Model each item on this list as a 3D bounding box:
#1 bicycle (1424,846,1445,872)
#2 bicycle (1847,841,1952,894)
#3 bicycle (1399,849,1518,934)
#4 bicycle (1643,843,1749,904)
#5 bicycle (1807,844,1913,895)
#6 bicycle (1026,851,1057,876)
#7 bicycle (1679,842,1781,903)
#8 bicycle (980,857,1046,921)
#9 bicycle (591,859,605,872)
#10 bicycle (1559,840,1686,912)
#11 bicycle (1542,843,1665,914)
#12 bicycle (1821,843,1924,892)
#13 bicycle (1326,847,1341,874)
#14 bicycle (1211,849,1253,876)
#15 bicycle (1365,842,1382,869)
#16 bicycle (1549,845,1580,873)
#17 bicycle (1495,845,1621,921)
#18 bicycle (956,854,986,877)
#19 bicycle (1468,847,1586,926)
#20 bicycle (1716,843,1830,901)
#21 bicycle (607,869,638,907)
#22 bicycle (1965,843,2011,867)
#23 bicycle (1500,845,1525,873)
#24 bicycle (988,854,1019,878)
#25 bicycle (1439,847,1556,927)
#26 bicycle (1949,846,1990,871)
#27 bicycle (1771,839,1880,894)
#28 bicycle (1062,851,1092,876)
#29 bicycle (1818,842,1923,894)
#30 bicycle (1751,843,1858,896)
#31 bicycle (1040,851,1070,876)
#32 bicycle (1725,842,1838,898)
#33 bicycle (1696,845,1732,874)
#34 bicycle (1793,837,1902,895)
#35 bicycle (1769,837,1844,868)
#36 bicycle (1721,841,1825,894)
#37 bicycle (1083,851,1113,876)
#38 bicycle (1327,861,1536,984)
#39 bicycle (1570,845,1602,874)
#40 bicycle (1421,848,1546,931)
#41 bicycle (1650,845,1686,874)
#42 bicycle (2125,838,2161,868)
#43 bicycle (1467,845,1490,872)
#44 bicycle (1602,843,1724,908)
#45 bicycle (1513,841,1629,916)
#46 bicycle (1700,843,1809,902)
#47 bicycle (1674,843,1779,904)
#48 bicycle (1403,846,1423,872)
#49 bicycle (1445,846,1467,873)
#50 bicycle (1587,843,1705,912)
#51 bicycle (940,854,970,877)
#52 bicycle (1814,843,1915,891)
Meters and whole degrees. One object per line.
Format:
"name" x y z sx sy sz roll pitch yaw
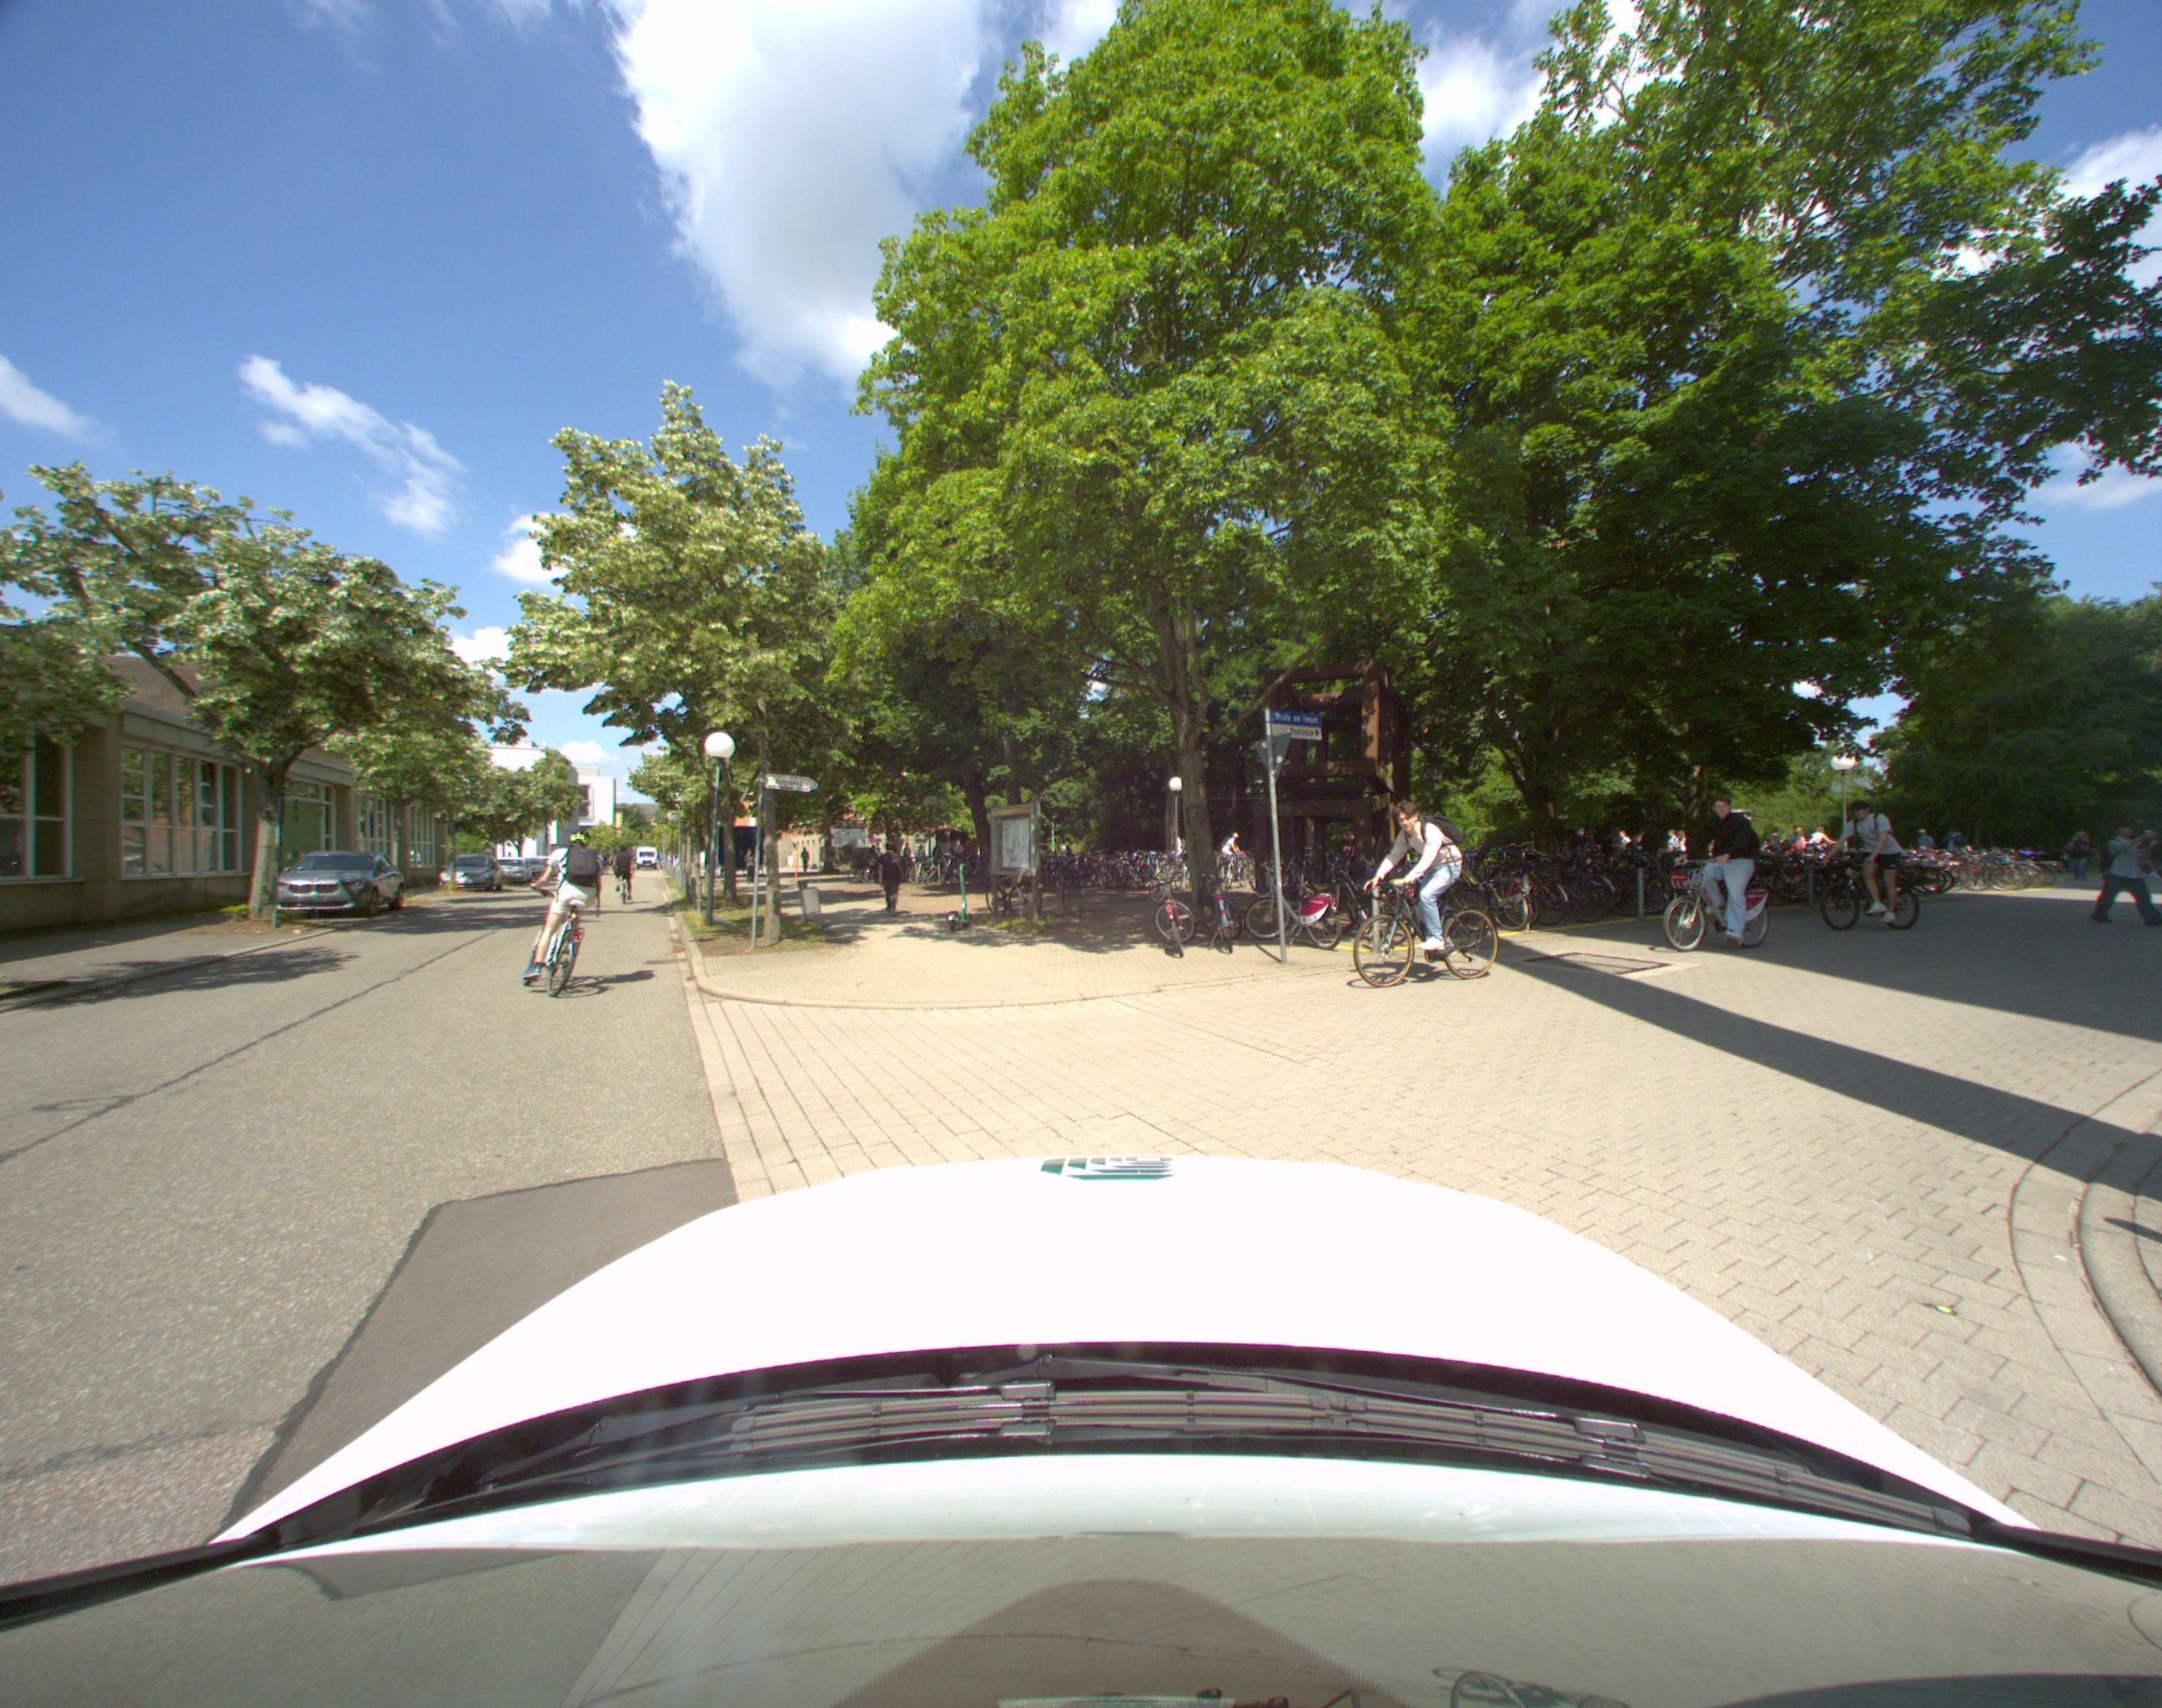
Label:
"bicycle" 15.038 0.198 34.687 0.512 1.110 1.785 0 1 14
"bicycle" 19.415 0.293 19.348 0.539 1.198 1.681 0 1 -36
"bicycle" 5.329 0.487 11.603 0.497 1.108 1.617 0 1 -23
"bicycle" 11.762 0.345 15.632 0.562 1.108 1.622 0 1 -14
"bicycle" 17.653 0.324 18.489 0.499 1.108 1.680 0 1 -38
"bicycle" -1.788 0.421 37.029 0.468 1.083 1.710 1 1 33
"bicycle" 12.802 0.330 16.123 0.496 1.143 1.622 0 1 -14
"bicycle" -1.312 0.630 15.418 0.395 1.108 1.820 0 1 -34
"bicycle" -39.912 0.957 67.299 1.678 1.083 0.477 1 1 39
"bicycle" 9.264 0.347 14.005 0.499 1.161 1.767 0 1 -33
"bicycle" 8.728 0.382 13.657 0.647 1.108 1.613 0 1 -33
"bicycle" 18.479 0.291 19.036 0.476 1.108 1.680 0 1 -39
"bicycle" 11.017 0.270 35.573 0.512 1.110 1.785 0 1 14
"bicycle" 6.392 0.354 34.544 1.678 1.083 0.608 1 1 41
"bicycle" 12.676 0.056 35.267 0.512 1.110 1.785 0 1 14
"bicycle" 19.698 0.186 33.236 0.512 1.110 1.783 0 1 11
"bicycle" 7.432 0.418 12.777 0.691 1.108 1.617 0 1 -23
"bicycle" -5.407 0.567 40.032 0.468 1.083 1.710 1 1 33
"bicycle" 6.779 0.454 12.466 0.497 1.108 1.617 0 1 -23
"bicycle" 14.194 0.339 16.764 0.498 1.108 1.725 0 1 -28
"bicycle" -14.352 1.030 25.460 0.673 1.108 2.050 -2 0 -33
"bicycle" 41.229 0.039 37.012 1.692 1.046 0.473 1 2 -7
"bicycle" 17.815 0.181 33.668 0.512 1.110 1.785 0 1 14
"bicycle" -3.635 0.546 38.183 0.468 1.083 1.710 1 1 33
"bicycle" 6.244 0.457 12.304 0.506 1.108 1.617 0 1 -23
"bicycle" 38.047 0.180 34.906 0.468 1.047 1.708 1 1 21
"bicycle" 16.617 0.249 18.221 0.498 1.178 1.725 0 1 -28
"bicycle" -0.159 0.403 35.707 0.468 1.083 1.710 1 1 33
"bicycle" 18.123 0.299 18.726 0.476 1.145 1.680 0 1 -39
"bicycle" 15.953 0.308 17.997 0.499 1.108 1.720 0 1 -40
"bicycle" -1.143 0.412 36.428 0.468 1.083 1.710 1 1 33
"bicycle" 14.699 0.305 17.140 0.499 1.126 1.723 0 1 -32
"bicycle" 24.949 0.190 32.104 0.469 1.110 1.785 0 1 16
"bicycle" 17.201 0.241 18.318 0.499 1.235 1.722 0 1 -35
"bicycle" 25.225 -0.039 28.332 0.545 1.047 1.886 -2 1 -41
"bicycle" 15.087 0.267 17.808 1.718 1.108 0.500 1 1 38
"bicycle" 0.750 0.399 35.389 0.468 1.083 1.710 1 1 33
"bicycle" 3.414 0.647 8.008 1.810 1.108 0.640 -1 1 -5
"bicycle" 20.559 0.213 33.185 0.512 1.110 1.783 0 1 11
"bicycle" 5.824 0.472 11.876 0.630 1.108 1.617 0 1 -23
"bicycle" 23.591 0.210 32.768 0.469 1.110 1.783 0 1 11
"bicycle" 41.016 -0.036 30.834 0.476 1.110 1.824 0 1 -38
"bicycle" 16.716 0.179 34.255 0.512 1.110 1.785 0 1 14
"bicycle" 10.508 0.353 14.775 0.718 1.108 1.717 0 1 -17
"bicycle" 8.005 0.368 13.376 0.498 1.150 1.615 0 1 -27
"bicycle" 13.442 0.340 16.314 0.572 1.108 1.735 0 1 -9
"bicycle" 12.360 0.336 15.647 0.496 1.108 1.622 0 1 -14
"bicycle" 14.185 0.197 34.833 0.512 1.110 1.785 0 1 14
"bicycle" 15.940 0.200 34.609 0.512 1.110 1.785 0 1 14
"bicycle" 9.758 0.376 14.132 0.499 1.108 1.613 0 1 -33
"bicycle" -6.276 0.570 40.533 0.468 1.083 1.710 1 1 33
"bicycle" 18.683 0.284 19.454 0.476 1.108 1.680 0 1 -39
